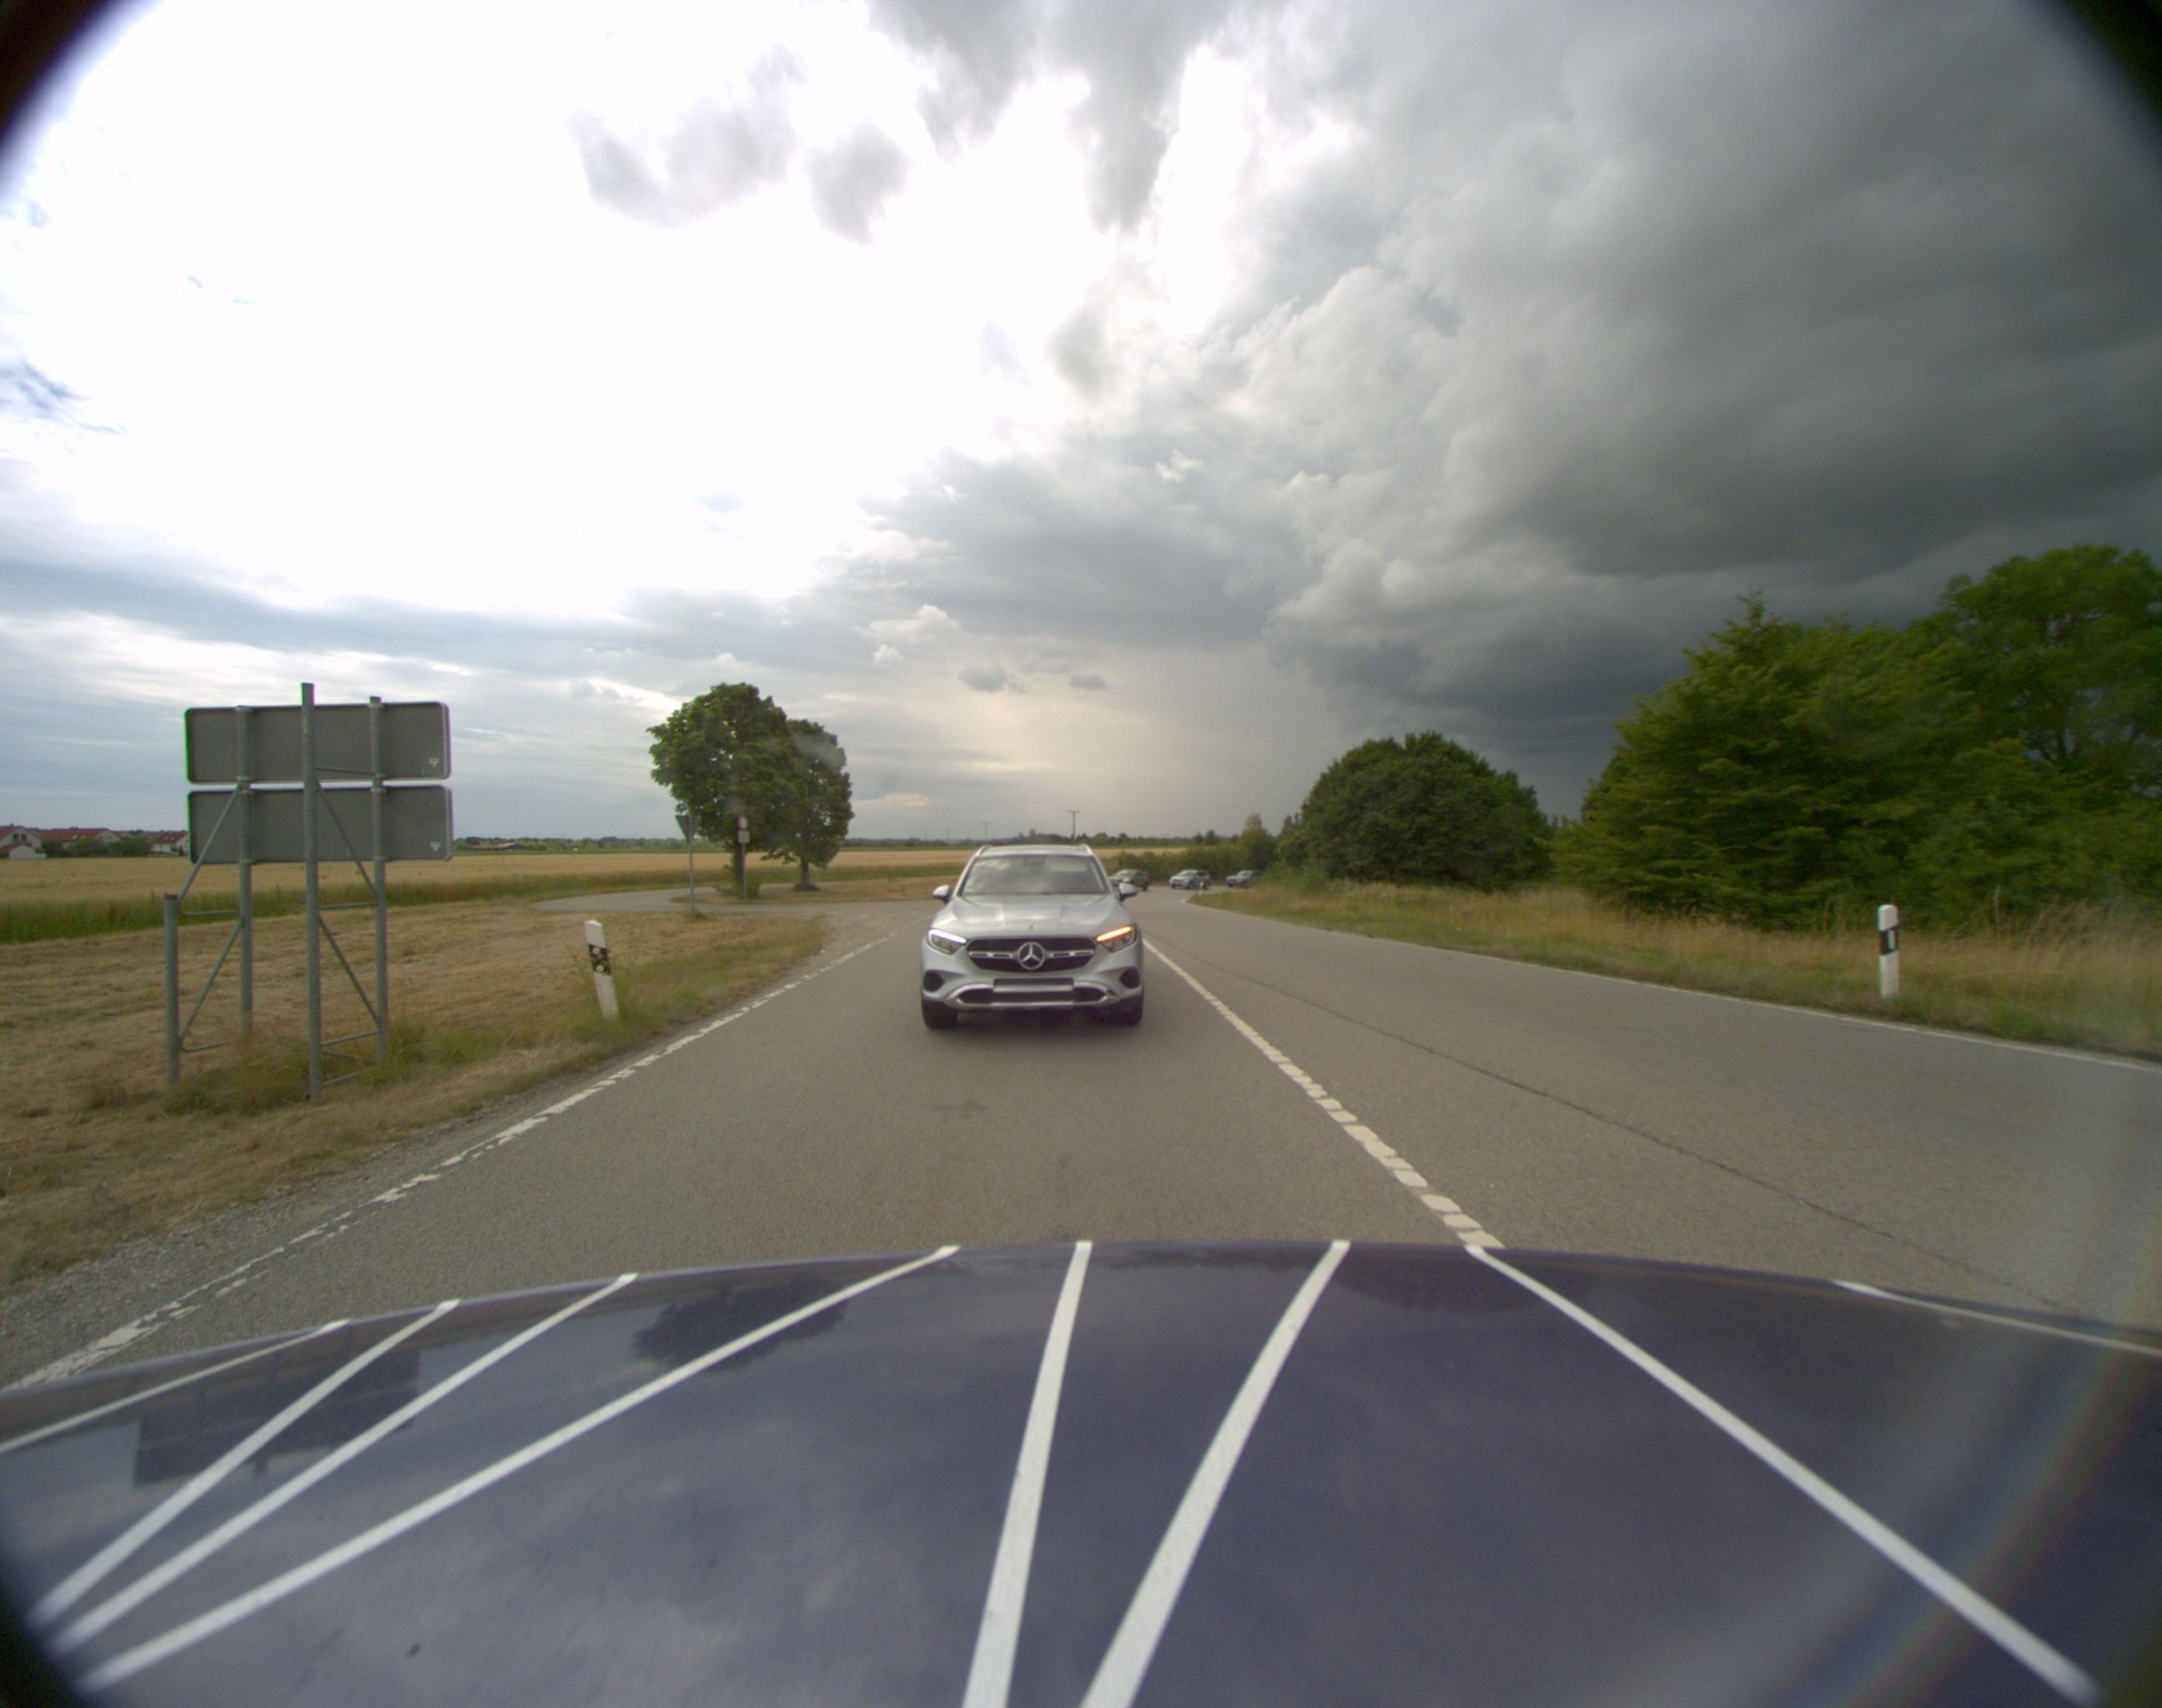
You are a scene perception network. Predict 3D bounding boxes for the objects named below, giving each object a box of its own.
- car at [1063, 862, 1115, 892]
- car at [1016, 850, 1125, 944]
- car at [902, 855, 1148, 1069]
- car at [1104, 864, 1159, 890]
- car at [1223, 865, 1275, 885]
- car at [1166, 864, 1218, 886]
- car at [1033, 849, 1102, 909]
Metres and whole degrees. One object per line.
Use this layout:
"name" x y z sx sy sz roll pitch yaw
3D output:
"car" 0.569 1.390 47.569 1.996 1.709 5.215 3 0 15
"car" -0.152 0.816 16.640 1.998 1.709 5.209 1 -1 1
"car" -0.479 0.811 7.919 1.837 1.577 4.449 0 0 -2
"car" 3.771 1.660 55.959 1.994 1.709 5.220 3 0 28
"car" 16.135 2.015 72.684 5.219 1.710 1.994 0 2 -39
"car" 9.619 1.841 65.370 1.994 1.709 5.221 3 0 39
"car" -0.531 0.823 25.583 1.999 1.709 5.208 3 -1 -2
